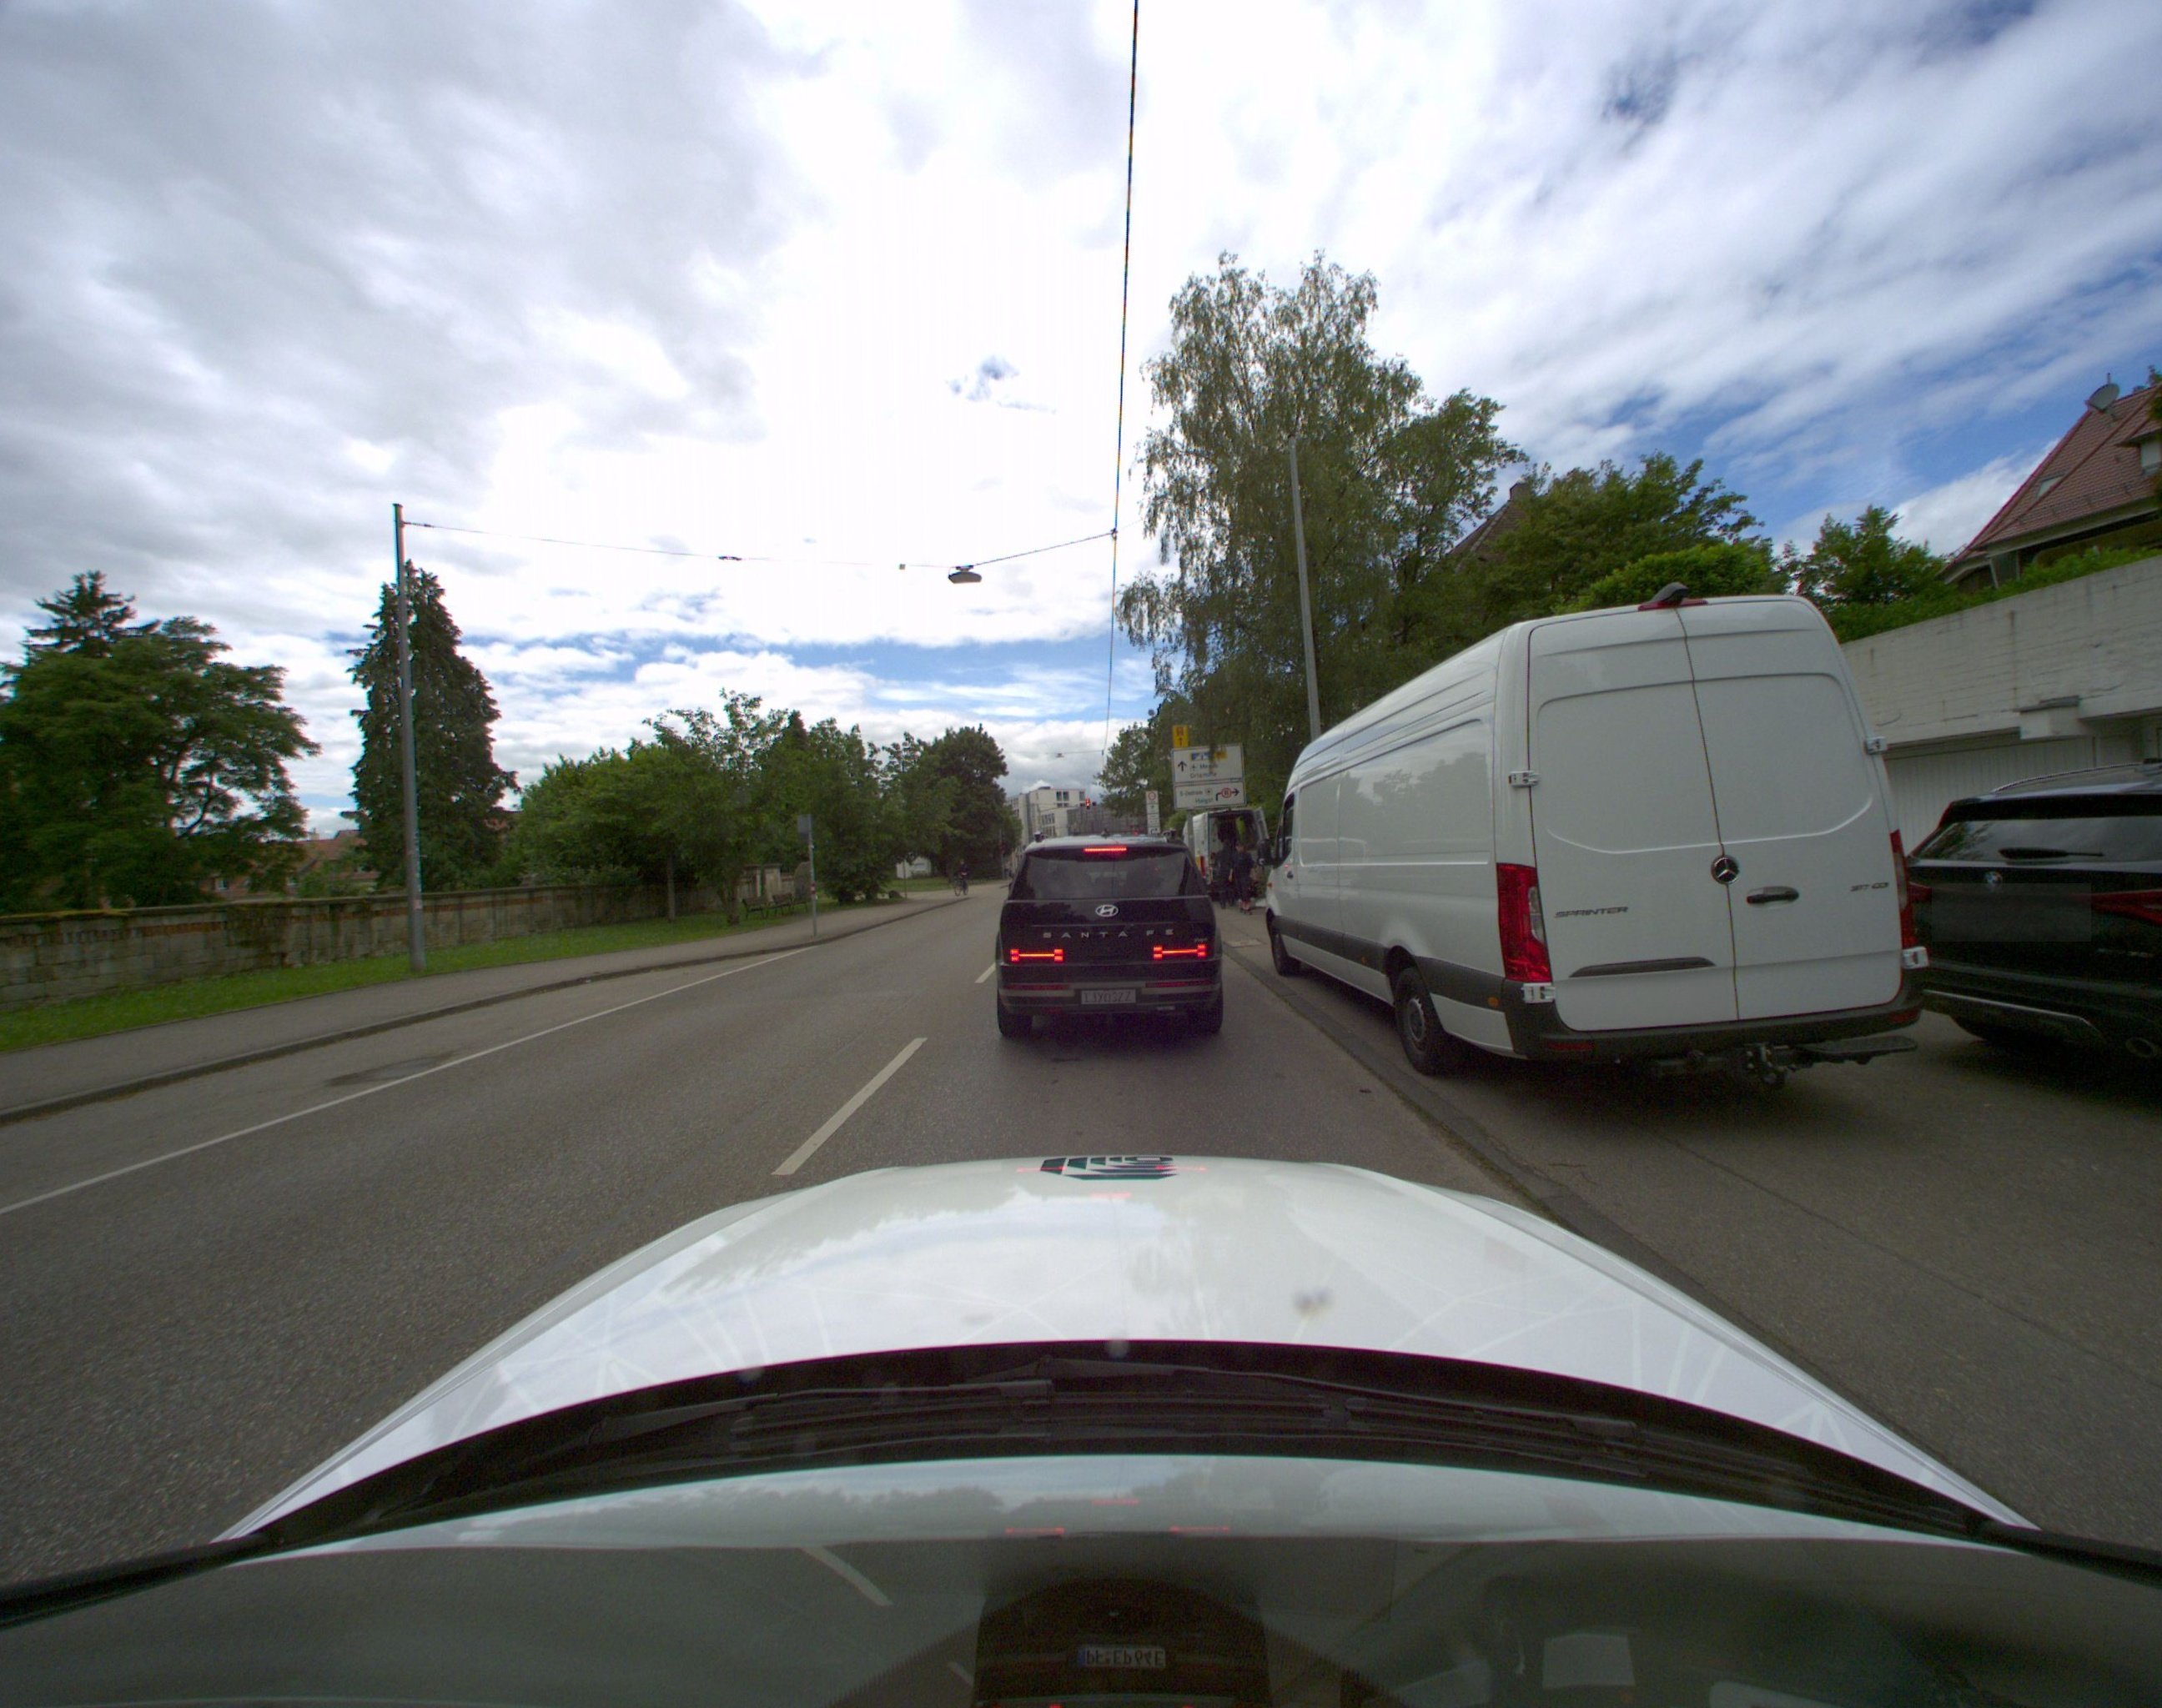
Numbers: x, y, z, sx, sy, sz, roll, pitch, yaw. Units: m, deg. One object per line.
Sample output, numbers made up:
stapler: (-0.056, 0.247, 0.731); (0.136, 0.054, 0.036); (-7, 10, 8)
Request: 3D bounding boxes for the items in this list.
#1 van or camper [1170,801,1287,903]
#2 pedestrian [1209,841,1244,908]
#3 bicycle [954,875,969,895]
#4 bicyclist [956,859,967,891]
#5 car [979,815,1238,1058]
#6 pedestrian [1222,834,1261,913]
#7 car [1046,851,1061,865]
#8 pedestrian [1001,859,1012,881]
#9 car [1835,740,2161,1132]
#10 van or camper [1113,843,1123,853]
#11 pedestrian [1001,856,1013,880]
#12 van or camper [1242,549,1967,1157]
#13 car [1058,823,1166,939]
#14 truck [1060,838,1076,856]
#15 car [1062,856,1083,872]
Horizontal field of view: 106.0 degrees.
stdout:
van or camper: (4.346, 0.011, 25.308); (2.332, 2.494, 6.604); (-6, -1, 1)
pedestrian: (3.735, 0.513, 20.912); (0.732, 1.643, 0.803); (-4, -1, 8)
bicycle: (-6.282, 1.632, 42.884); (0.493, 0.964, 1.749); (0, -1, 2)
bicyclist: (-6.286, 1.097, 42.951); (0.486, 1.684, 0.588); (0, -1, 1)
car: (0.262, 0.620, 7.988); (1.890, 1.776, 3.995); (0, -1, 2)
pedestrian: (3.643, 0.437, 18.569); (0.746, 1.721, 0.793); (-3, -1, 8)
car: (-4.902, 0.712, 144.563); (2.328, 2.315, 4.950); (-3, 0, -4)
pedestrian: (-5.988, 1.249, 65.500); (0.764, 1.748, 0.904); (-2, -1, 1)
car: (6.788, 0.213, 4.045); (4.365, 1.675, 1.696); (-4, -1, 2)
van or camper: (7.759, -1.248, 172.579); (1.791, 1.999, 3.821); (0, -1, -2)
pedestrian: (-6.200, 1.154, 67.944); (0.826, 2.014, 1.048); (0, -1, 4)
van or camper: (3.061, 0.018, 7.050); (1.984, 2.625, 6.546); (-6, -1, 2)
car: (0.617, 0.494, 16.452); (1.890, 2.042, 3.995); (0, -1, 2)
truck: (-3.100, -1.511, 188.339); (3.102, 3.859, 9.607); (-3, 0, -4)
car: (-0.829, 0.967, 79.241); (1.750, 1.403, 4.416); (-6, -1, 2)
